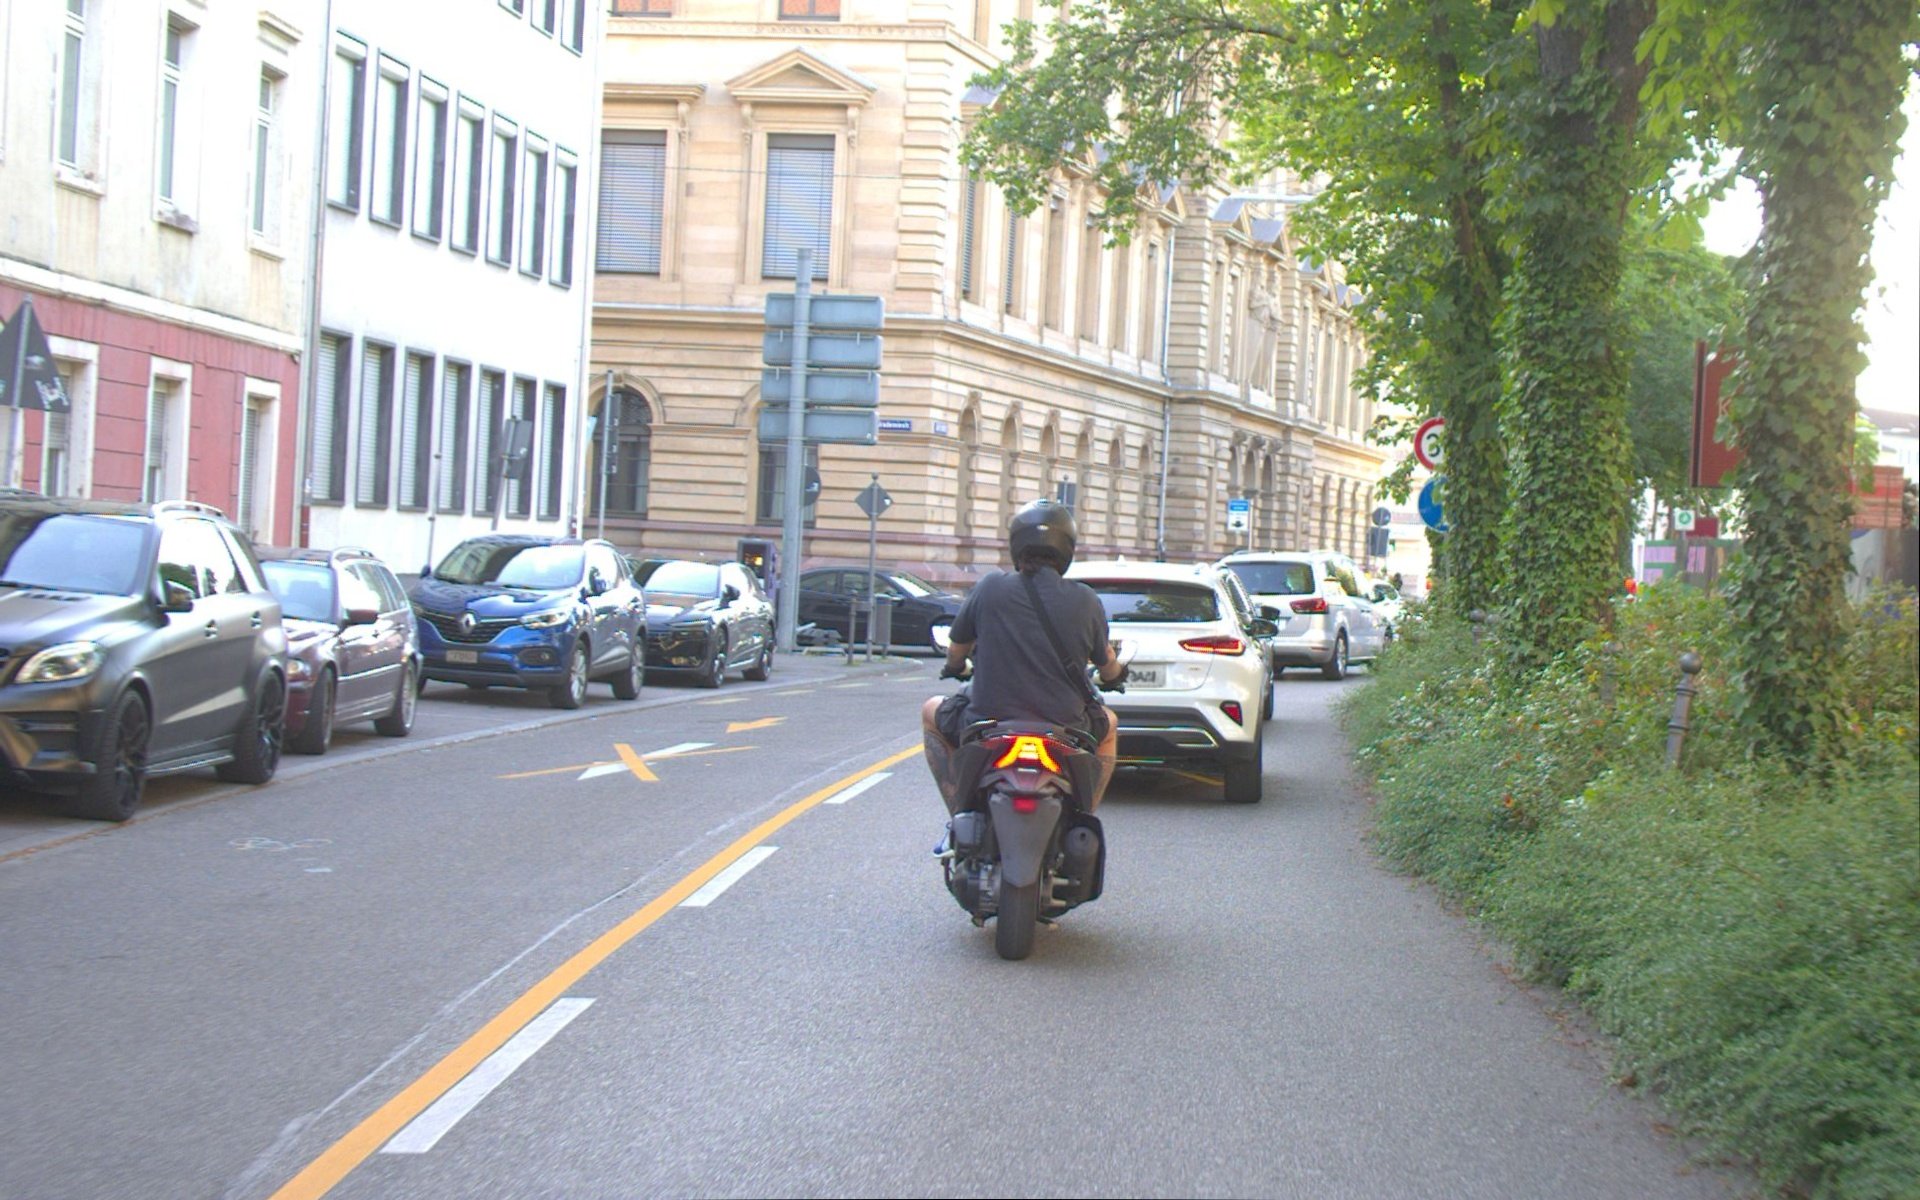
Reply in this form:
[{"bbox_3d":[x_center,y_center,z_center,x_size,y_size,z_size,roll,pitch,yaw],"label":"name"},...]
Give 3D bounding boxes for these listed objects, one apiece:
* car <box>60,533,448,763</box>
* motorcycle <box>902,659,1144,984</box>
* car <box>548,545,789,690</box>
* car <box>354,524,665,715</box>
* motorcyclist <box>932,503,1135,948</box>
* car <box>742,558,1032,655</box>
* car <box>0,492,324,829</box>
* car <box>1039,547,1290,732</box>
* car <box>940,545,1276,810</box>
[{"bbox_3d":[-5.073,0.297,25.285,1.653,1.475,4.427,2,1,3],"label":"car"},{"bbox_3d":[0.246,0.810,13.229,0.796,1.062,1.725,4,1,1],"label":"motorcycle"},{"bbox_3d":[-3.377,0.175,40.767,1.824,1.498,4.759,4,1,7],"label":"car"},{"bbox_3d":[-4.326,0.157,33.697,1.934,1.662,4.346,2,1,7],"label":"car"},{"bbox_3d":[0.278,0.470,13.350,0.657,1.645,0.651,4,1,0],"label":"motorcyclist"},{"bbox_3d":[-1.169,0.093,55.587,4.317,1.385,1.774,2,1,17],"label":"car"},{"bbox_3d":[-5.204,0.247,19.673,1.922,1.674,4.784,2,1,3],"label":"car"},{"bbox_3d":[1.949,0.327,31.633,1.841,1.458,4.056,4,1,9],"label":"car"},{"bbox_3d":[1.062,0.440,22.506,1.851,1.475,4.056,3,1,6],"label":"car"}]
